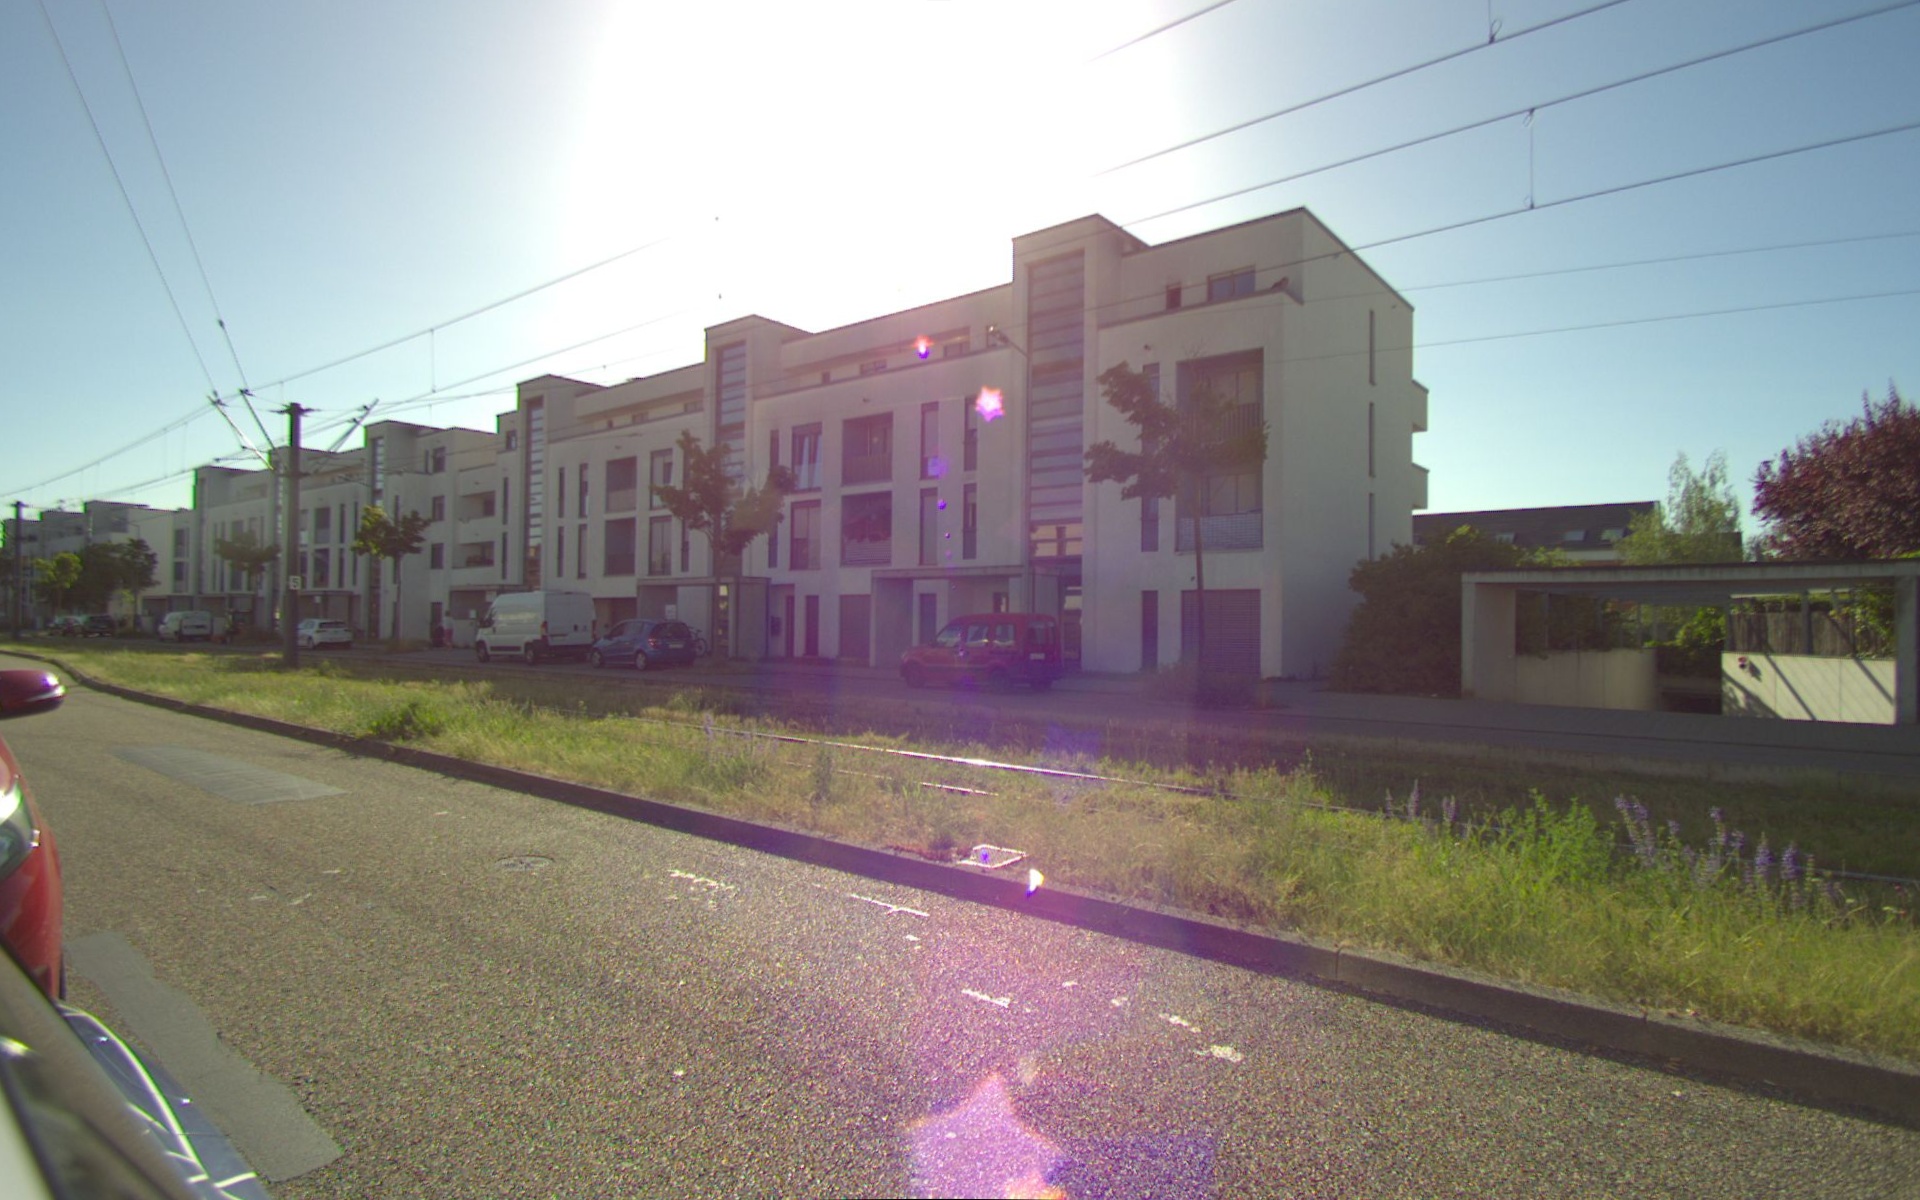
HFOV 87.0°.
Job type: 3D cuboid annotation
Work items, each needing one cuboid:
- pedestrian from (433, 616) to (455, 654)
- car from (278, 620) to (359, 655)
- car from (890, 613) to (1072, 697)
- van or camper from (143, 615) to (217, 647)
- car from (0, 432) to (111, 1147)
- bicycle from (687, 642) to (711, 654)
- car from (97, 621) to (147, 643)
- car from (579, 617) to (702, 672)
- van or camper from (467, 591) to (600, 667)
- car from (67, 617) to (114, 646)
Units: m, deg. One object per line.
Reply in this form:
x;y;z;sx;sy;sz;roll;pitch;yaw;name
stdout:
-22.818;1.549;44.765;0.611;1.656;0.612;-1;0;33;pedestrian
-31.058;1.787;48.987;4.115;1.598;2.022;-1;-2;38;car
0.419;1.191;22.931;3.907;1.736;1.770;-1;-3;42;car
-47.985;1.881;62.227;6.279;1.862;2.244;-1;-1;39;van or camper
-5.105;0.571;3.870;5.081;1.984;2.100;-1;0;41;car
-10.507;1.927;40.738;1.060;0.502;0.349;-1;-3;40;bicycle
-56.989;2.180;68.788;3.491;1.449;1.845;-2;-1;37;car
-10.007;1.360;31.592;3.833;1.625;1.910;-1;-2;40;car
-15.191;1.023;35.927;5.256;2.484;2.170;-1;-2;40;van or camper
-63.008;2.259;73.309;3.993;2.029;1.766;-1;0;37;car
